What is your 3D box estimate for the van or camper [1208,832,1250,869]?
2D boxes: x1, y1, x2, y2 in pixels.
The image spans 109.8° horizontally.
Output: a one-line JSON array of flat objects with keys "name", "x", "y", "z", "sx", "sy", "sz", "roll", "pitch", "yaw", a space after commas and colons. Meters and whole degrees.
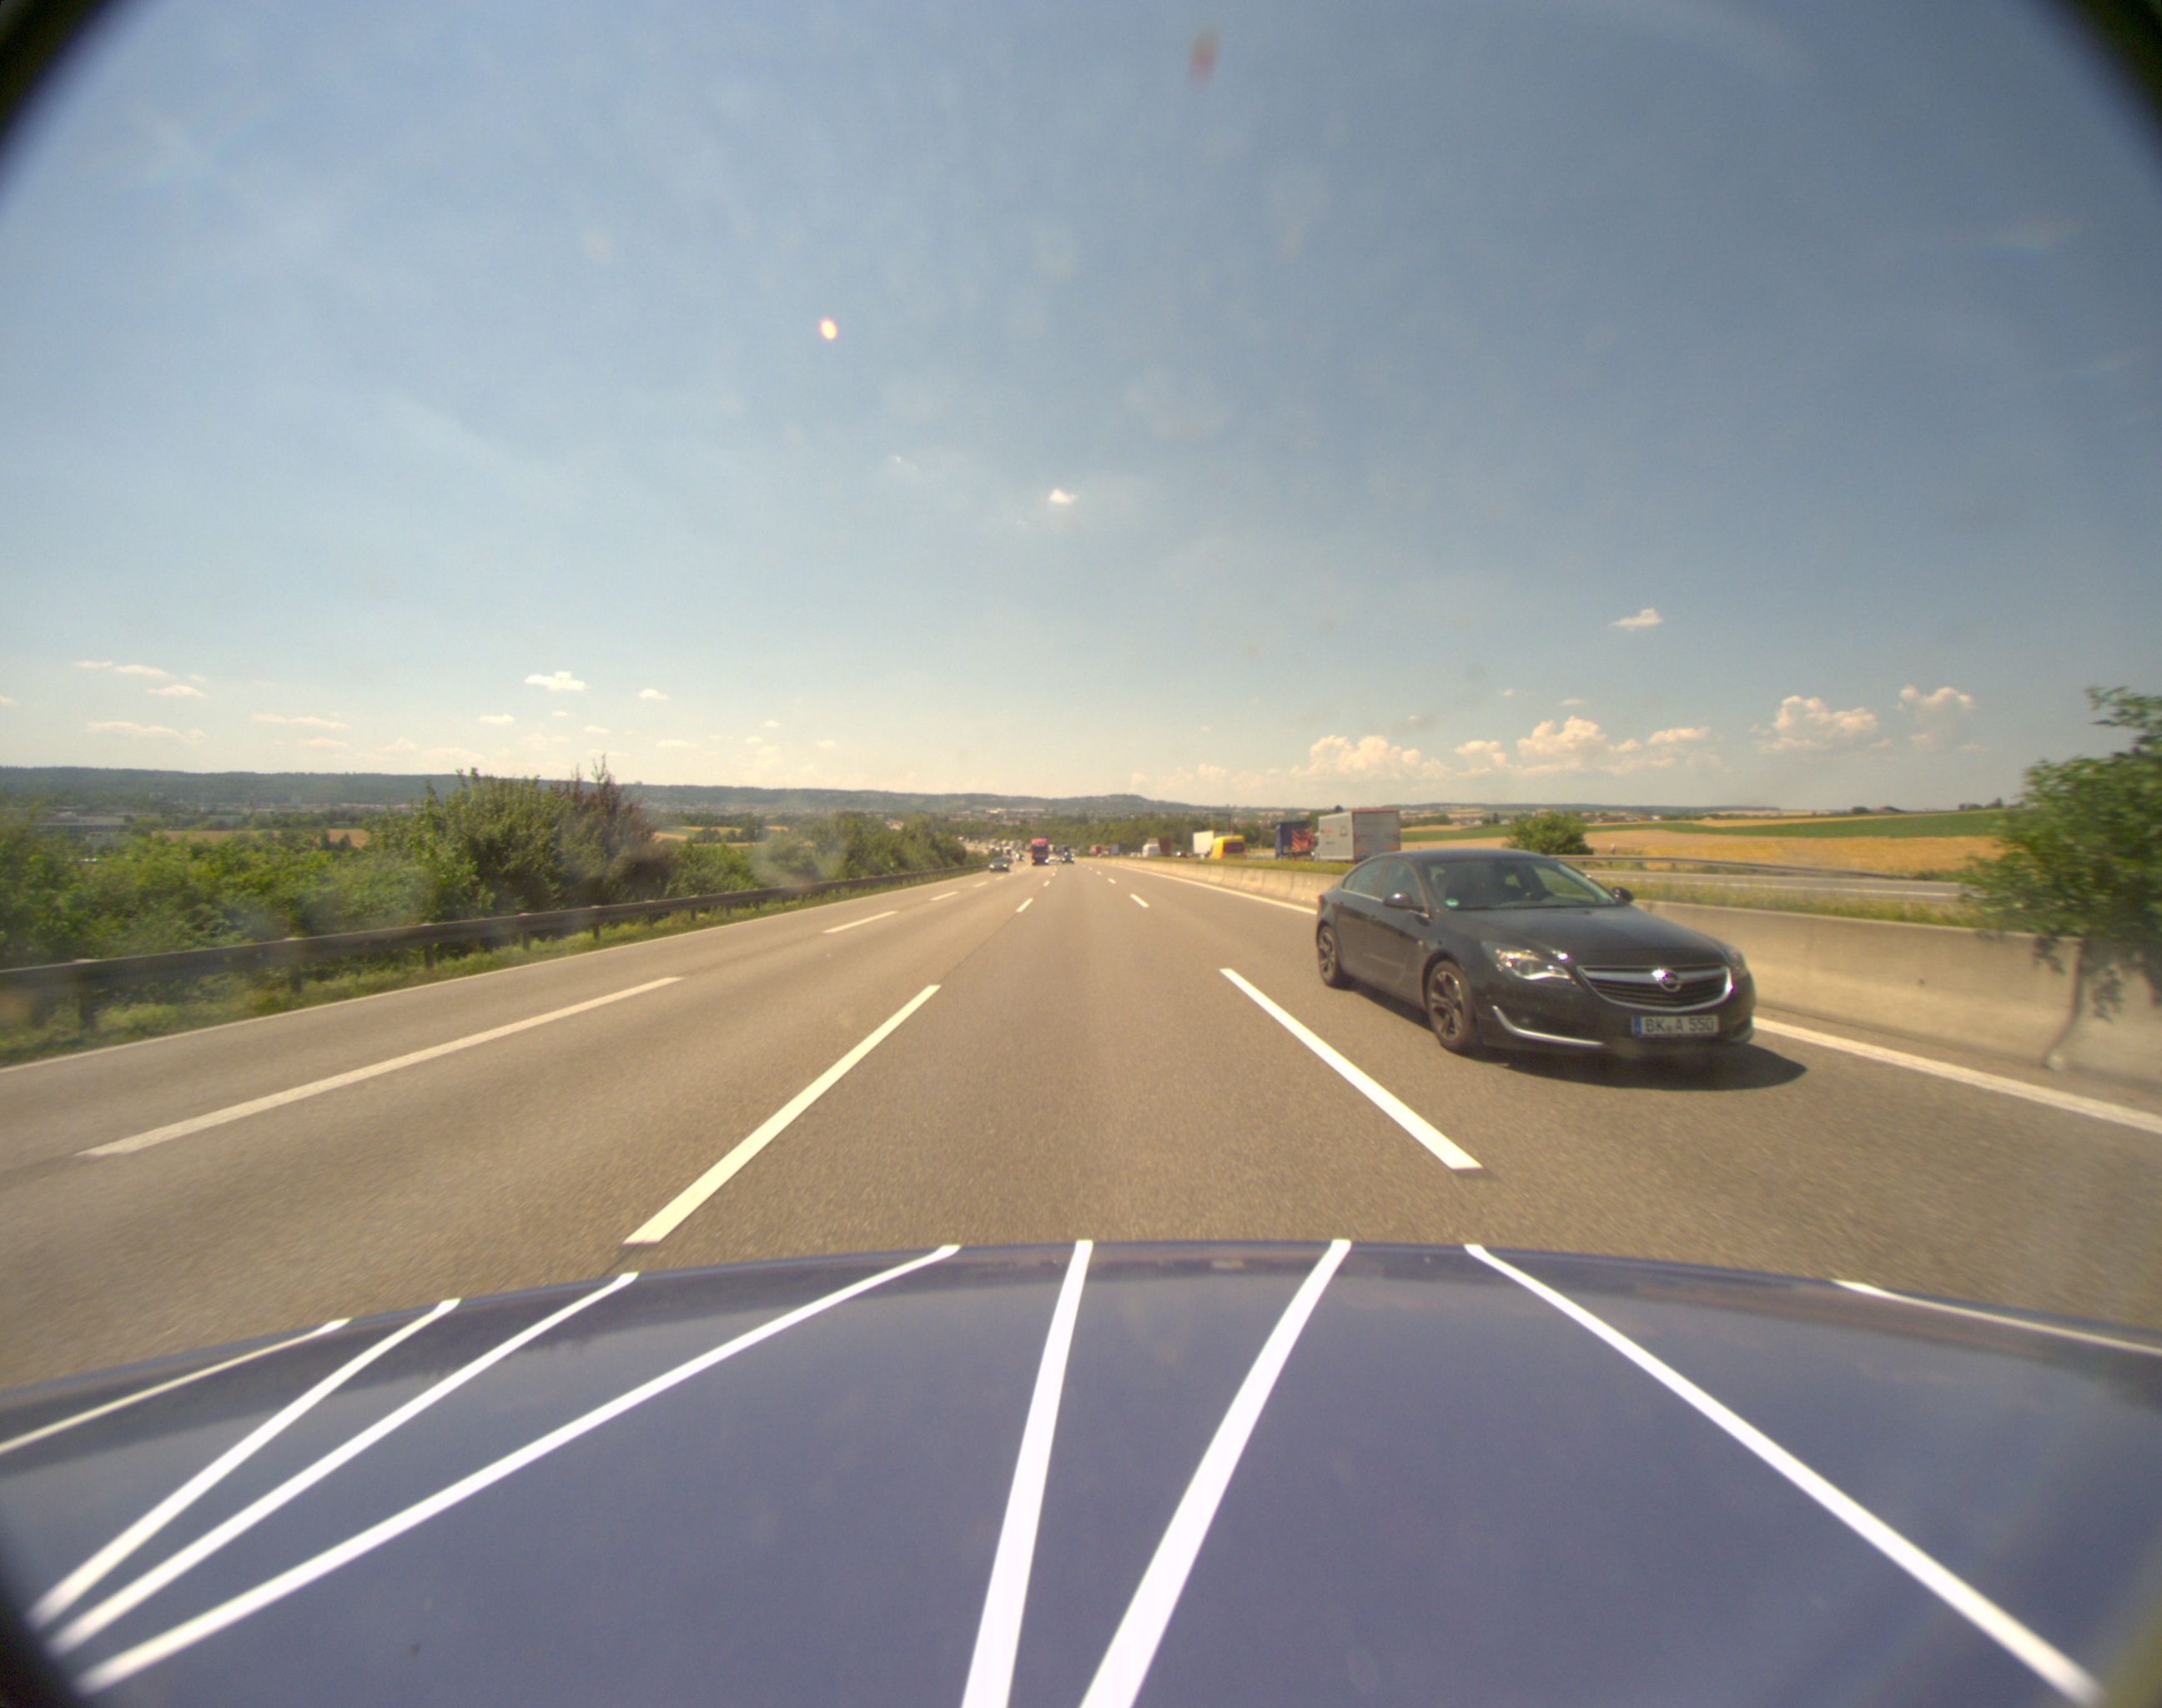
[{"name": "van or camper", "x": 11.495, "y": -0.267, "z": 59.444, "sx": 2.089, "sy": 2.692, "sz": 6.138, "roll": -2, "pitch": 0, "yaw": 0}]

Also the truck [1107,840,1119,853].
[{"name": "truck", "x": 9.792, "y": -2.254, "z": 234.497, "sx": 2.759, "sy": 3.815, "sz": 7.094, "roll": -3, "pitch": 1, "yaw": -4}]

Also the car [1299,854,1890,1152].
[{"name": "car", "x": 3.479, "y": 0.810, "z": 6.505, "sx": 1.808, "sy": 1.534, "sz": 4.749, "roll": -2, "pitch": 0, "yaw": 0}]

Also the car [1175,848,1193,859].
[{"name": "car", "x": 14.324, "y": -0.053, "z": 106.102, "sx": 1.824, "sy": 1.471, "sz": 4.502, "roll": -2, "pitch": 1, "yaw": -1}]

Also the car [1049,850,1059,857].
[{"name": "car", "x": -6.822, "y": -0.193, "z": 188.765, "sx": 2.000, "sy": 1.467, "sz": 3.995, "roll": -3, "pitch": 3, "yaw": -8}]

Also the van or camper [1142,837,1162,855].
[{"name": "van or camper", "x": 10.141, "y": -1.196, "z": 109.344, "sx": 2.073, "sy": 2.449, "sz": 7.517, "roll": -1, "pitch": 1, "yaw": -1}]

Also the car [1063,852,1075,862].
[{"name": "car", "x": -1.924, "y": 0.457, "z": 119.950, "sx": 1.866, "sy": 1.426, "sz": 3.997, "roll": -1, "pitch": 3, "yaw": -1}]

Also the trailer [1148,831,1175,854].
[{"name": "trailer", "x": 15.736, "y": -2.248, "z": 149.860, "sx": 3.132, "sy": 4.299, "sz": 14.539, "roll": -2, "pitch": 1, "yaw": -2}]

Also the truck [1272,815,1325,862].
[{"name": "truck", "x": 19.292, "y": -1.373, "z": 67.825, "sx": 2.783, "sy": 3.915, "sz": 6.136, "roll": -2, "pitch": 0, "yaw": -1}]

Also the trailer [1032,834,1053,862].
[{"name": "trailer", "x": -6.367, "y": -1.109, "z": 122.897, "sx": 2.927, "sy": 4.094, "sz": 13.848, "roll": -3, "pitch": 2, "yaw": -4}]

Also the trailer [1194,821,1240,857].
[{"name": "trailer", "x": 18.106, "y": -1.921, "z": 102.514, "sx": 3.250, "sy": 4.362, "sz": 14.024, "roll": -2, "pitch": 0, "yaw": -2}]

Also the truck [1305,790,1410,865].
[{"name": "truck", "x": 15.418, "y": -1.380, "z": 43.101, "sx": 2.943, "sy": 3.721, "sz": 7.778, "roll": -2, "pitch": 0, "yaw": 0}]

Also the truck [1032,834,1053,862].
[{"name": "truck", "x": -5.886, "y": -0.979, "z": 116.248, "sx": 2.925, "sy": 3.986, "sz": 6.506, "roll": -3, "pitch": 2, "yaw": -4}]

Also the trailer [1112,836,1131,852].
[{"name": "trailer", "x": 11.076, "y": -2.770, "z": 207.625, "sx": 3.170, "sy": 4.170, "sz": 14.372, "roll": -3, "pitch": 1, "yaw": -4}]

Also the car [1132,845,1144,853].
[{"name": "car", "x": 11.710, "y": -1.027, "z": 157.058, "sx": 1.871, "sy": 1.448, "sz": 4.571, "roll": -2, "pitch": 1, "yaw": -3}]

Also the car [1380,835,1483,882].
[{"name": "car", "x": 12.240, "y": 0.115, "z": 26.803, "sx": 1.791, "sy": 1.459, "sz": 3.999, "roll": -2, "pitch": 1, "yaw": 1}]

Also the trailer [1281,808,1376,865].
[{"name": "trailer", "x": 19.305, "y": -1.308, "z": 60.595, "sx": 2.846, "sy": 3.935, "sz": 13.725, "roll": -2, "pitch": 1, "yaw": 0}]

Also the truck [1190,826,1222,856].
[{"name": "truck", "x": 17.921, "y": -1.817, "z": 109.384, "sx": 3.235, "sy": 4.182, "sz": 7.124, "roll": -2, "pitch": 0, "yaw": -2}]

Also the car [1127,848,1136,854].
[{"name": "car", "x": 12.767, "y": -0.736, "z": 192.048, "sx": 1.662, "sy": 1.377, "sz": 4.348, "roll": -3, "pitch": 0, "yaw": -4}]

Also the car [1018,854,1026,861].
[{"name": "car", "x": -16.044, "y": 0.952, "z": 205.403, "sx": 1.999, "sy": 1.467, "sz": 3.996, "roll": -3, "pitch": 3, "yaw": -5}]

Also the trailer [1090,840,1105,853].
[{"name": "trailer", "x": 5.365, "y": -2.524, "z": 254.311, "sx": 3.095, "sy": 4.077, "sz": 14.371, "roll": -3, "pitch": 1, "yaw": -5}]

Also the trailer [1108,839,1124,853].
[{"name": "trailer", "x": 10.287, "y": -2.358, "z": 227.049, "sx": 2.961, "sy": 4.077, "sz": 14.373, "roll": -3, "pitch": 1, "yaw": -4}]

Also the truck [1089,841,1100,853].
[{"name": "truck", "x": 4.654, "y": -2.302, "z": 262.253, "sx": 3.045, "sy": 4.058, "sz": 6.310, "roll": -3, "pitch": 1, "yaw": -6}]

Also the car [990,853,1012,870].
[{"name": "car", "x": -8.005, "y": 0.726, "z": 76.081, "sx": 2.038, "sy": 1.543, "sz": 3.998, "roll": -2, "pitch": 0, "yaw": -5}]
